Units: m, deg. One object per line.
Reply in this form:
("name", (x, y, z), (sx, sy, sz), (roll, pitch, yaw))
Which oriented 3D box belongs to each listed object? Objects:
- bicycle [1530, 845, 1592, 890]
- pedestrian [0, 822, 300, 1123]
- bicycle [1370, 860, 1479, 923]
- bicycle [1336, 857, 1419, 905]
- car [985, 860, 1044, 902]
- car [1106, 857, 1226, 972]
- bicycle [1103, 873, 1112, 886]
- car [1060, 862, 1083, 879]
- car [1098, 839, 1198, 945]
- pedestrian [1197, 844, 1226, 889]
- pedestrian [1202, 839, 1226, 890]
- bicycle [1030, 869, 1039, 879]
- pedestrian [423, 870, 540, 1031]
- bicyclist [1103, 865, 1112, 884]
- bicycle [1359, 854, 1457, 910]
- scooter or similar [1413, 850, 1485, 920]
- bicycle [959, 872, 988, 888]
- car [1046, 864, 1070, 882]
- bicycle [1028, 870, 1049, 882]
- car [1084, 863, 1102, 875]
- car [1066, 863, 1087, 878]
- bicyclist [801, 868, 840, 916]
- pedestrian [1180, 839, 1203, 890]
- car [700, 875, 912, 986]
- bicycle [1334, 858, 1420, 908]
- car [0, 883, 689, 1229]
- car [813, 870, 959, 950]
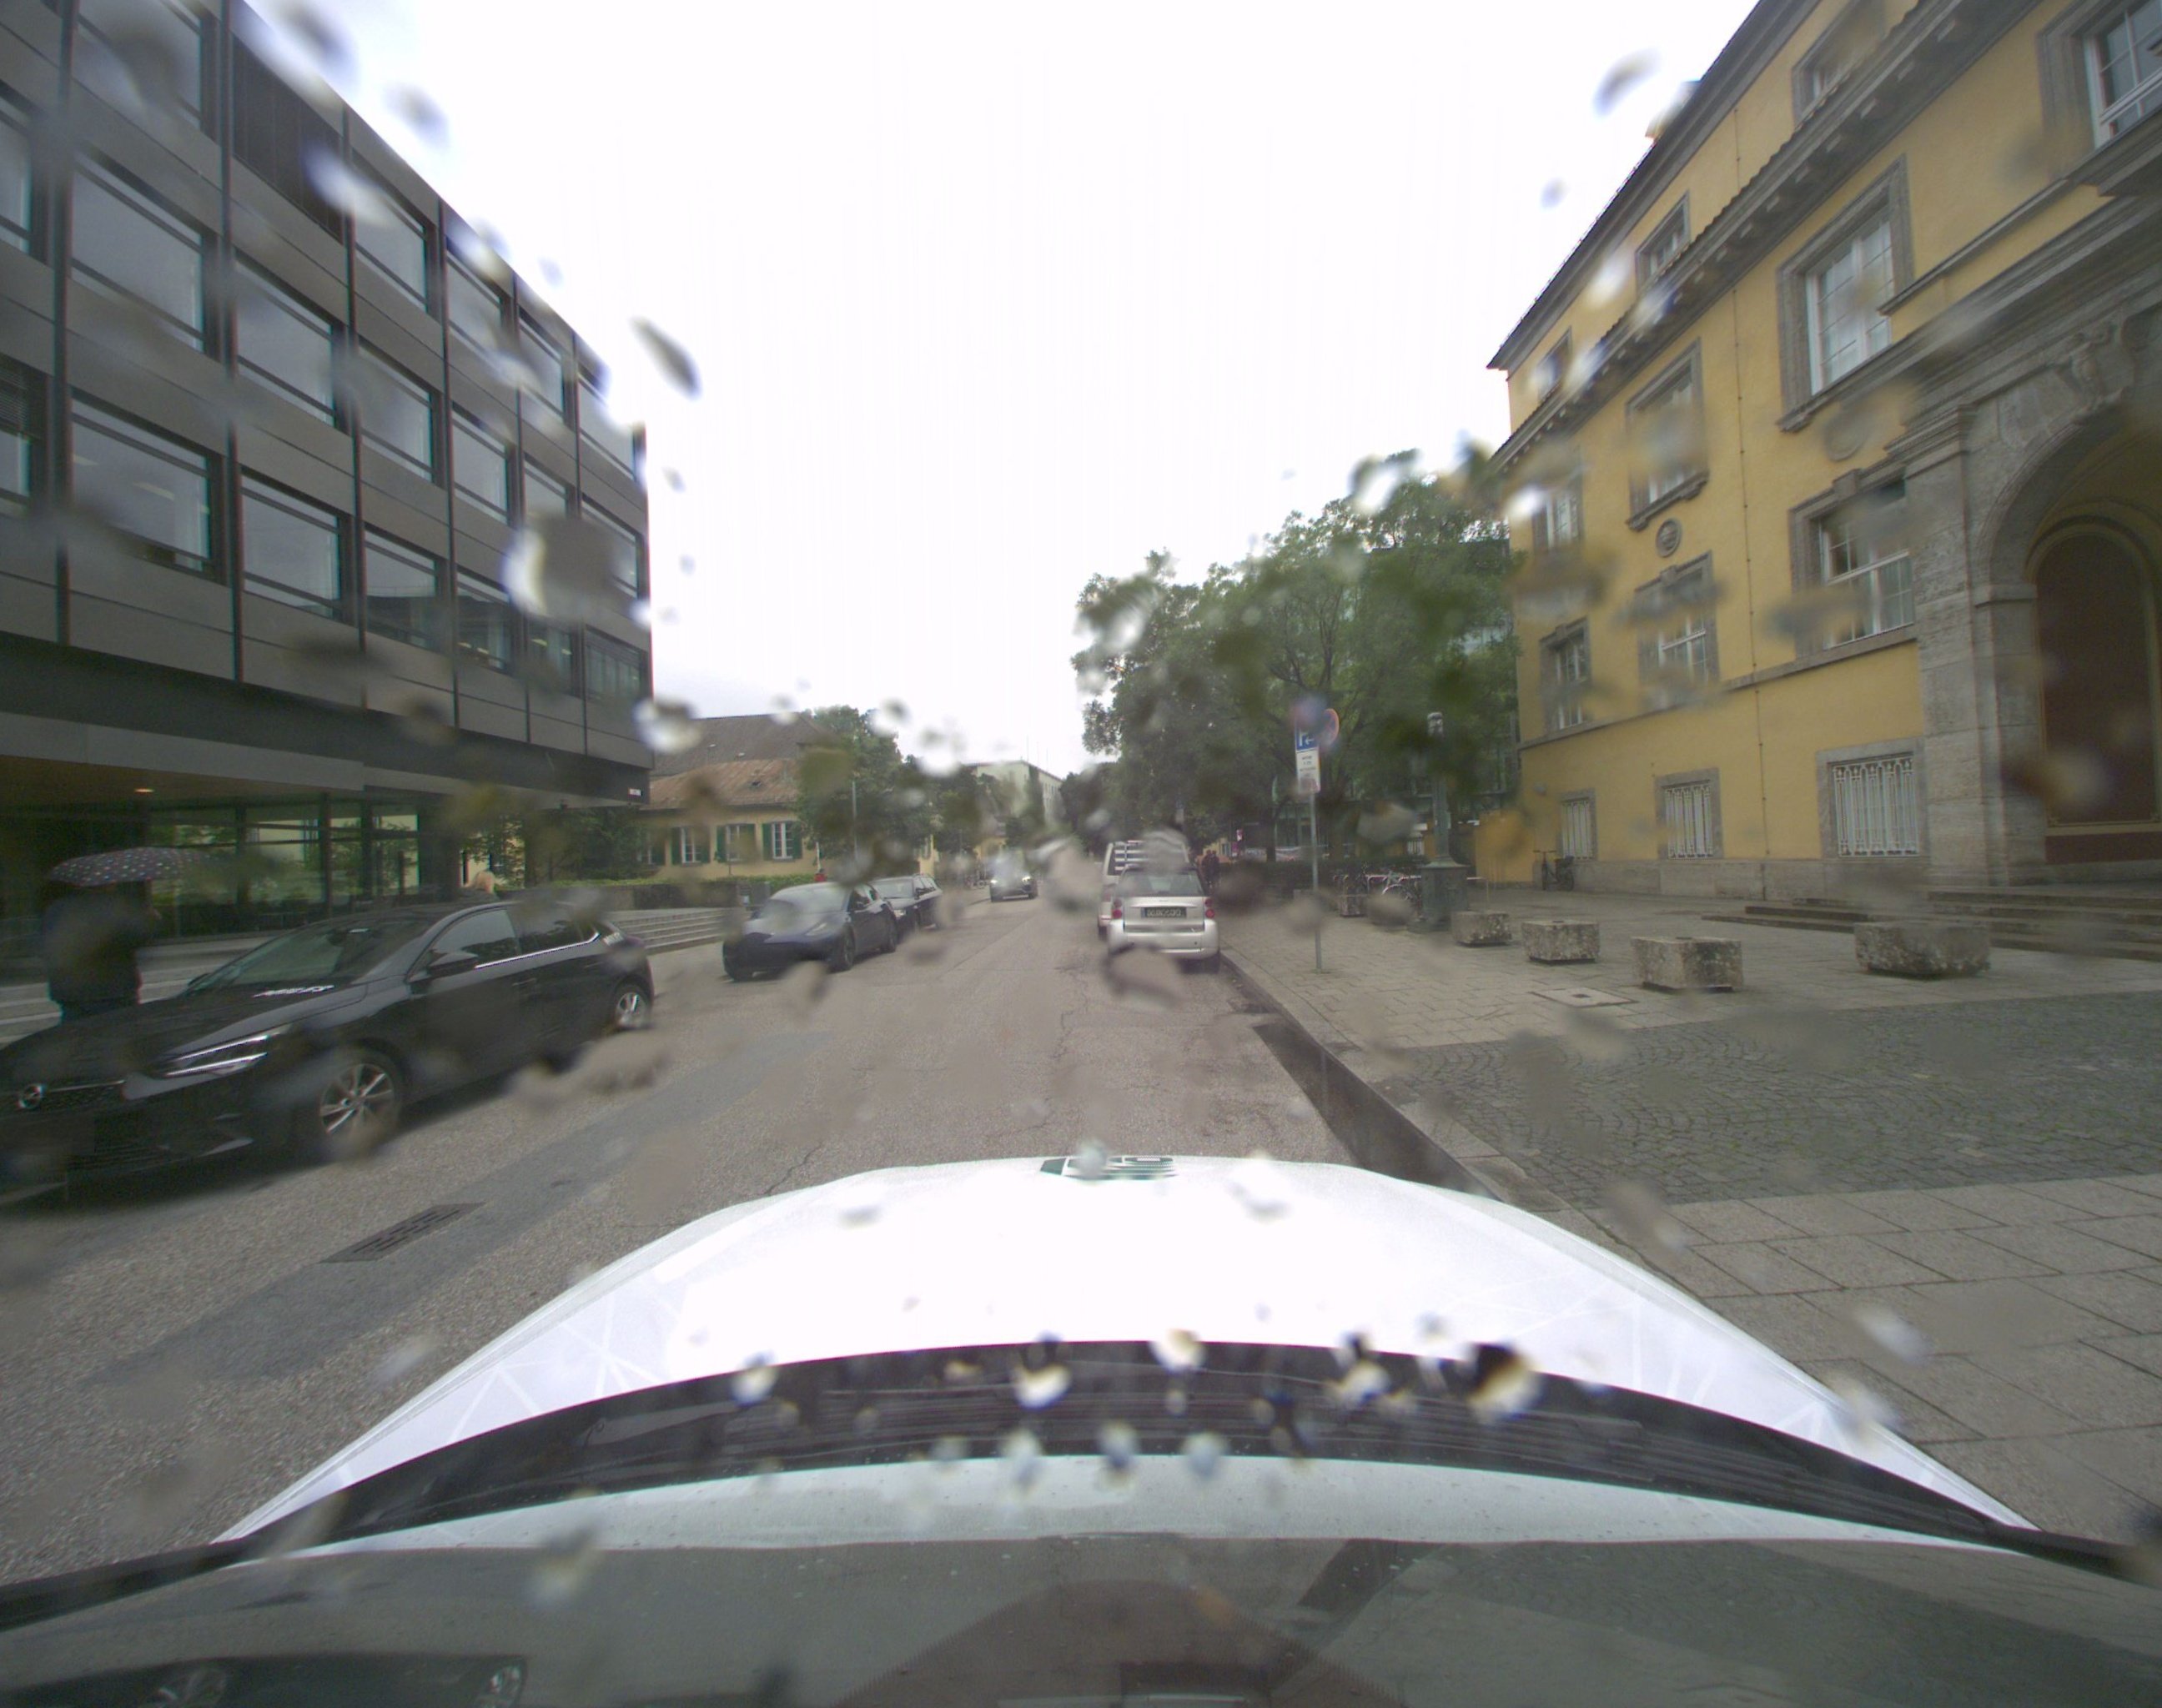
("bicycle", (13.138, 0.343, 22.344), (0.540, 1.154, 1.902), (-3, 0, 1))
("pedestrian", (-7.139, 0.826, 6.230), (1.131, 2.055, 1.221), (-1, -1, 1))
("bicycle", (6.822, 0.735, 16.207), (1.926, 1.113, 0.471), (-4, -1, -1))
("bicycle", (7.722, 0.709, 21.240), (1.923, 1.113, 0.472), (-4, -1, 3))
("car", (-2.990, 1.194, 37.662), (2.016, 1.689, 4.681), (-3, -1, 3))
("car", (1.210, 0.835, 12.499), (1.599, 1.546, 2.935), (-1, -1, 2))
("bicycle", (2.045, 1.974, 62.538), (0.623, 0.955, 1.861), (0, -1, 3))
("car", (-0.977, 1.763, 88.055), (1.984, 1.648, 4.661), (-2, -1, 5))
("car", (1.280, 0.722, 17.604), (1.838, 1.933, 5.273), (0, -1, 1))
("pedestrian", (5.814, 0.554, 36.238), (0.735, 1.907, 1.062), (-4, -1, 37))
("pedestrian", (5.709, 0.456, 35.030), (0.740, 2.135, 1.056), (-3, -1, 1))
("bicycle", (-4.961, 2.180, 87.302), (0.618, 1.004, 1.622), (-2, -2, 8))
("pedestrian", (-6.989, 1.078, 9.550), (0.754, 1.749, 0.948), (-2, -1, -14))
("bicyclist", (2.041, 1.579, 62.564), (0.701, 1.393, 0.869), (0, -1, 3))
("bicycle", (7.274, 0.625, 18.156), (1.923, 1.113, 0.472), (-4, -1, 4))
("scooter or similar", (6.730, 0.576, 14.919), (0.541, 1.222, 1.000), (-3, -1, -43))
("bicycle", (-7.426, 1.798, 56.223), (1.921, 1.099, 0.615), (-1, -1, 5))
("car", (-2.128, 1.772, 75.487), (1.725, 1.581, 3.793), (0, -1, 5))
("bicycle", (-3.712, 1.942, 71.015), (0.615, 1.004, 2.154), (0, 0, 35))
("car", (1.658, 2.071, 110.927), (1.983, 1.486, 4.007), (-3, -1, 6))
("car", (-0.481, 1.942, 93.124), (1.985, 1.603, 4.003), (-2, -2, 4))
("bicyclist", (-8.447, 1.232, 26.399), (1.096, 1.498, 0.668), (-2, -3, -23))
("pedestrian", (4.781, 0.452, 35.327), (0.740, 2.135, 1.056), (-3, -1, 1))
("car", (-4.505, 1.175, 14.305), (1.916, 1.439, 4.917), (-5, -1, 0))
("bicycle", (7.426, 0.722, 20.457), (1.923, 1.113, 0.472), (-4, -1, 4))
("car", (-4.943, 1.071, 6.012), (1.732, 1.461, 4.240), (-5, -1, 3))
("car", (-4.469, 1.226, 19.570), (1.985, 1.491, 4.887), (-4, -1, 3))
